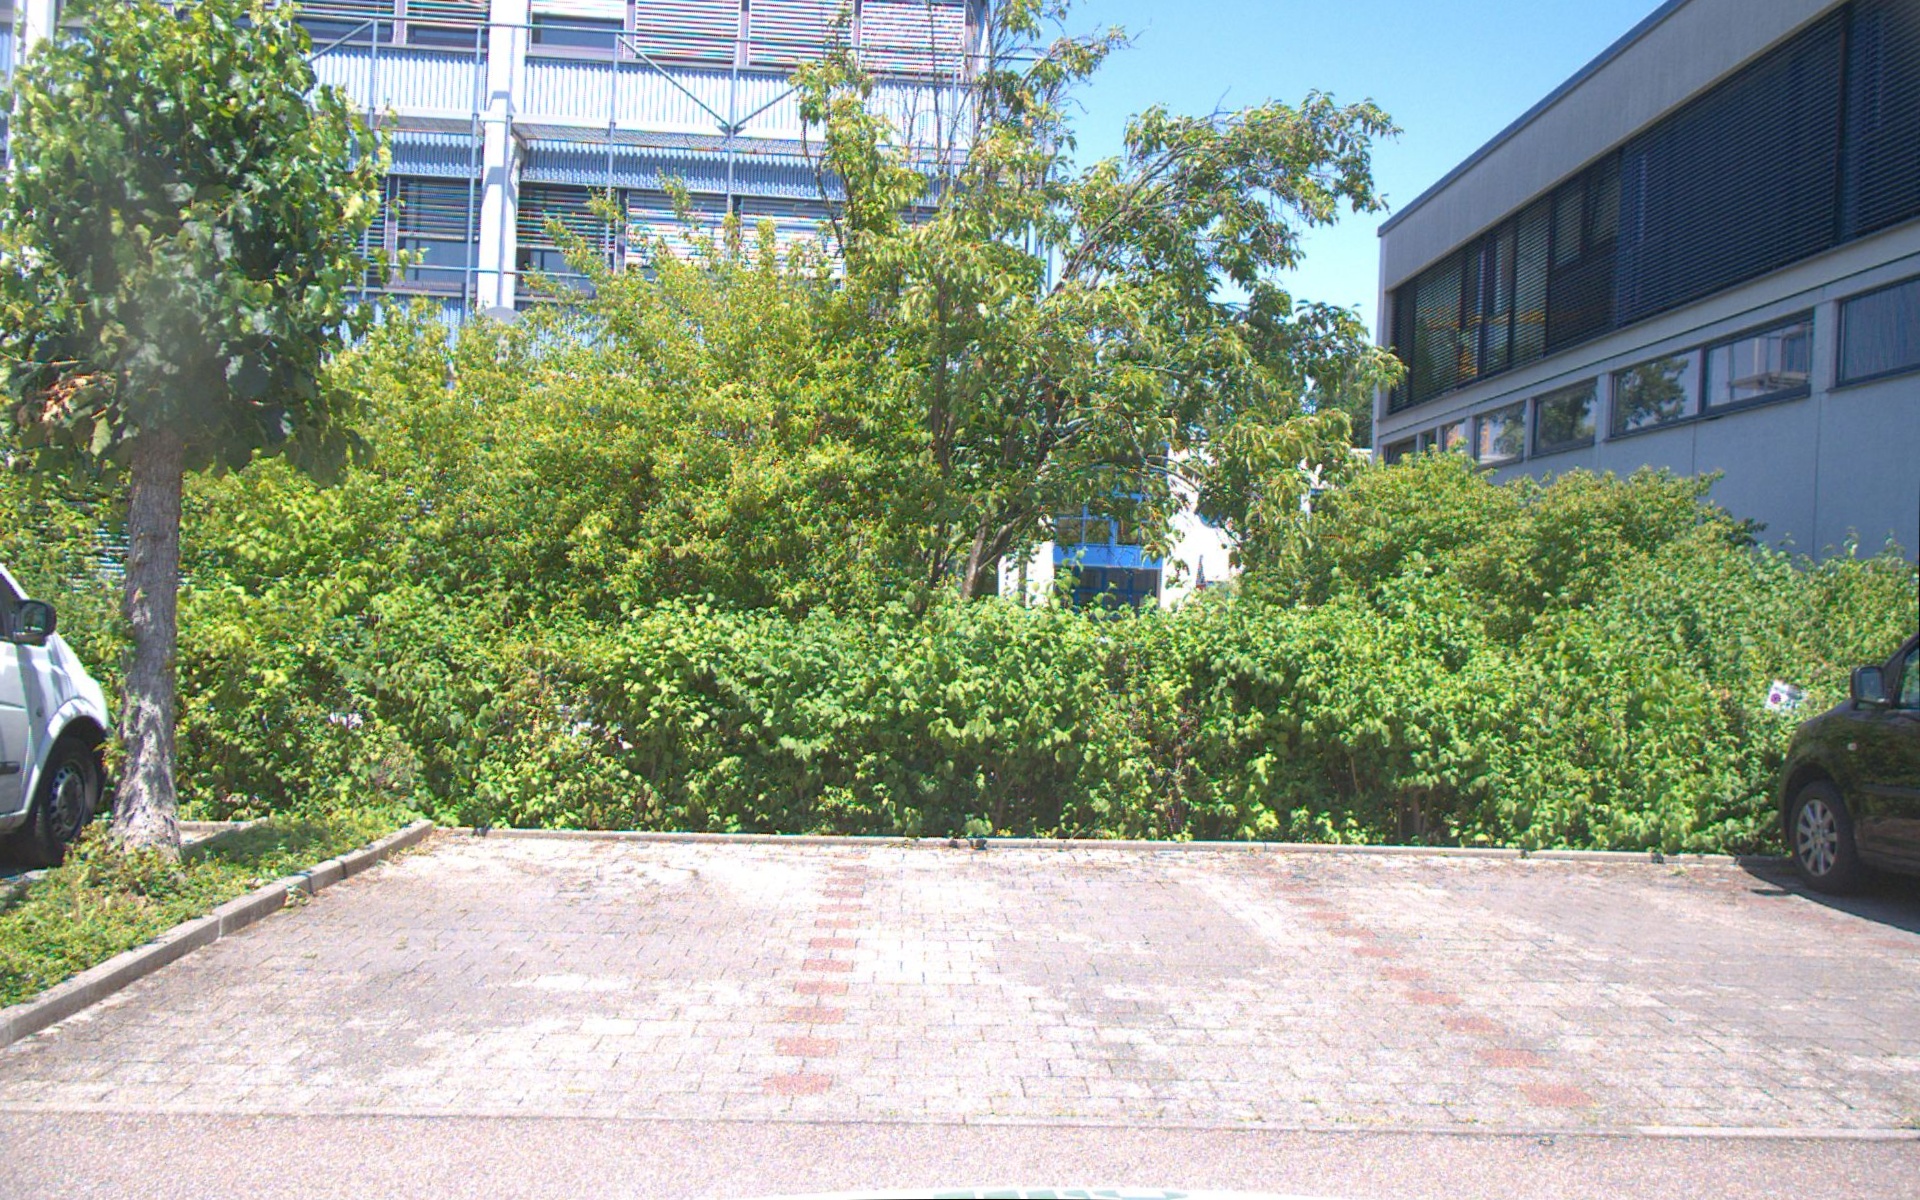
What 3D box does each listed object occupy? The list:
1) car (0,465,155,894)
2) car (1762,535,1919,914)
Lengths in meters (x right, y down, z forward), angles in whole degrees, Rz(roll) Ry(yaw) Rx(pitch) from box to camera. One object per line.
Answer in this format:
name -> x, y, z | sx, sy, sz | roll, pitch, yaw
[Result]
car -> -5.215, 0.351, 6.591 | 1.875, 1.938, 4.805 | 1, 0, -4
car -> 5.622, 0.628, 7.672 | 1.708, 1.869, 3.998 | 1, 0, -3
